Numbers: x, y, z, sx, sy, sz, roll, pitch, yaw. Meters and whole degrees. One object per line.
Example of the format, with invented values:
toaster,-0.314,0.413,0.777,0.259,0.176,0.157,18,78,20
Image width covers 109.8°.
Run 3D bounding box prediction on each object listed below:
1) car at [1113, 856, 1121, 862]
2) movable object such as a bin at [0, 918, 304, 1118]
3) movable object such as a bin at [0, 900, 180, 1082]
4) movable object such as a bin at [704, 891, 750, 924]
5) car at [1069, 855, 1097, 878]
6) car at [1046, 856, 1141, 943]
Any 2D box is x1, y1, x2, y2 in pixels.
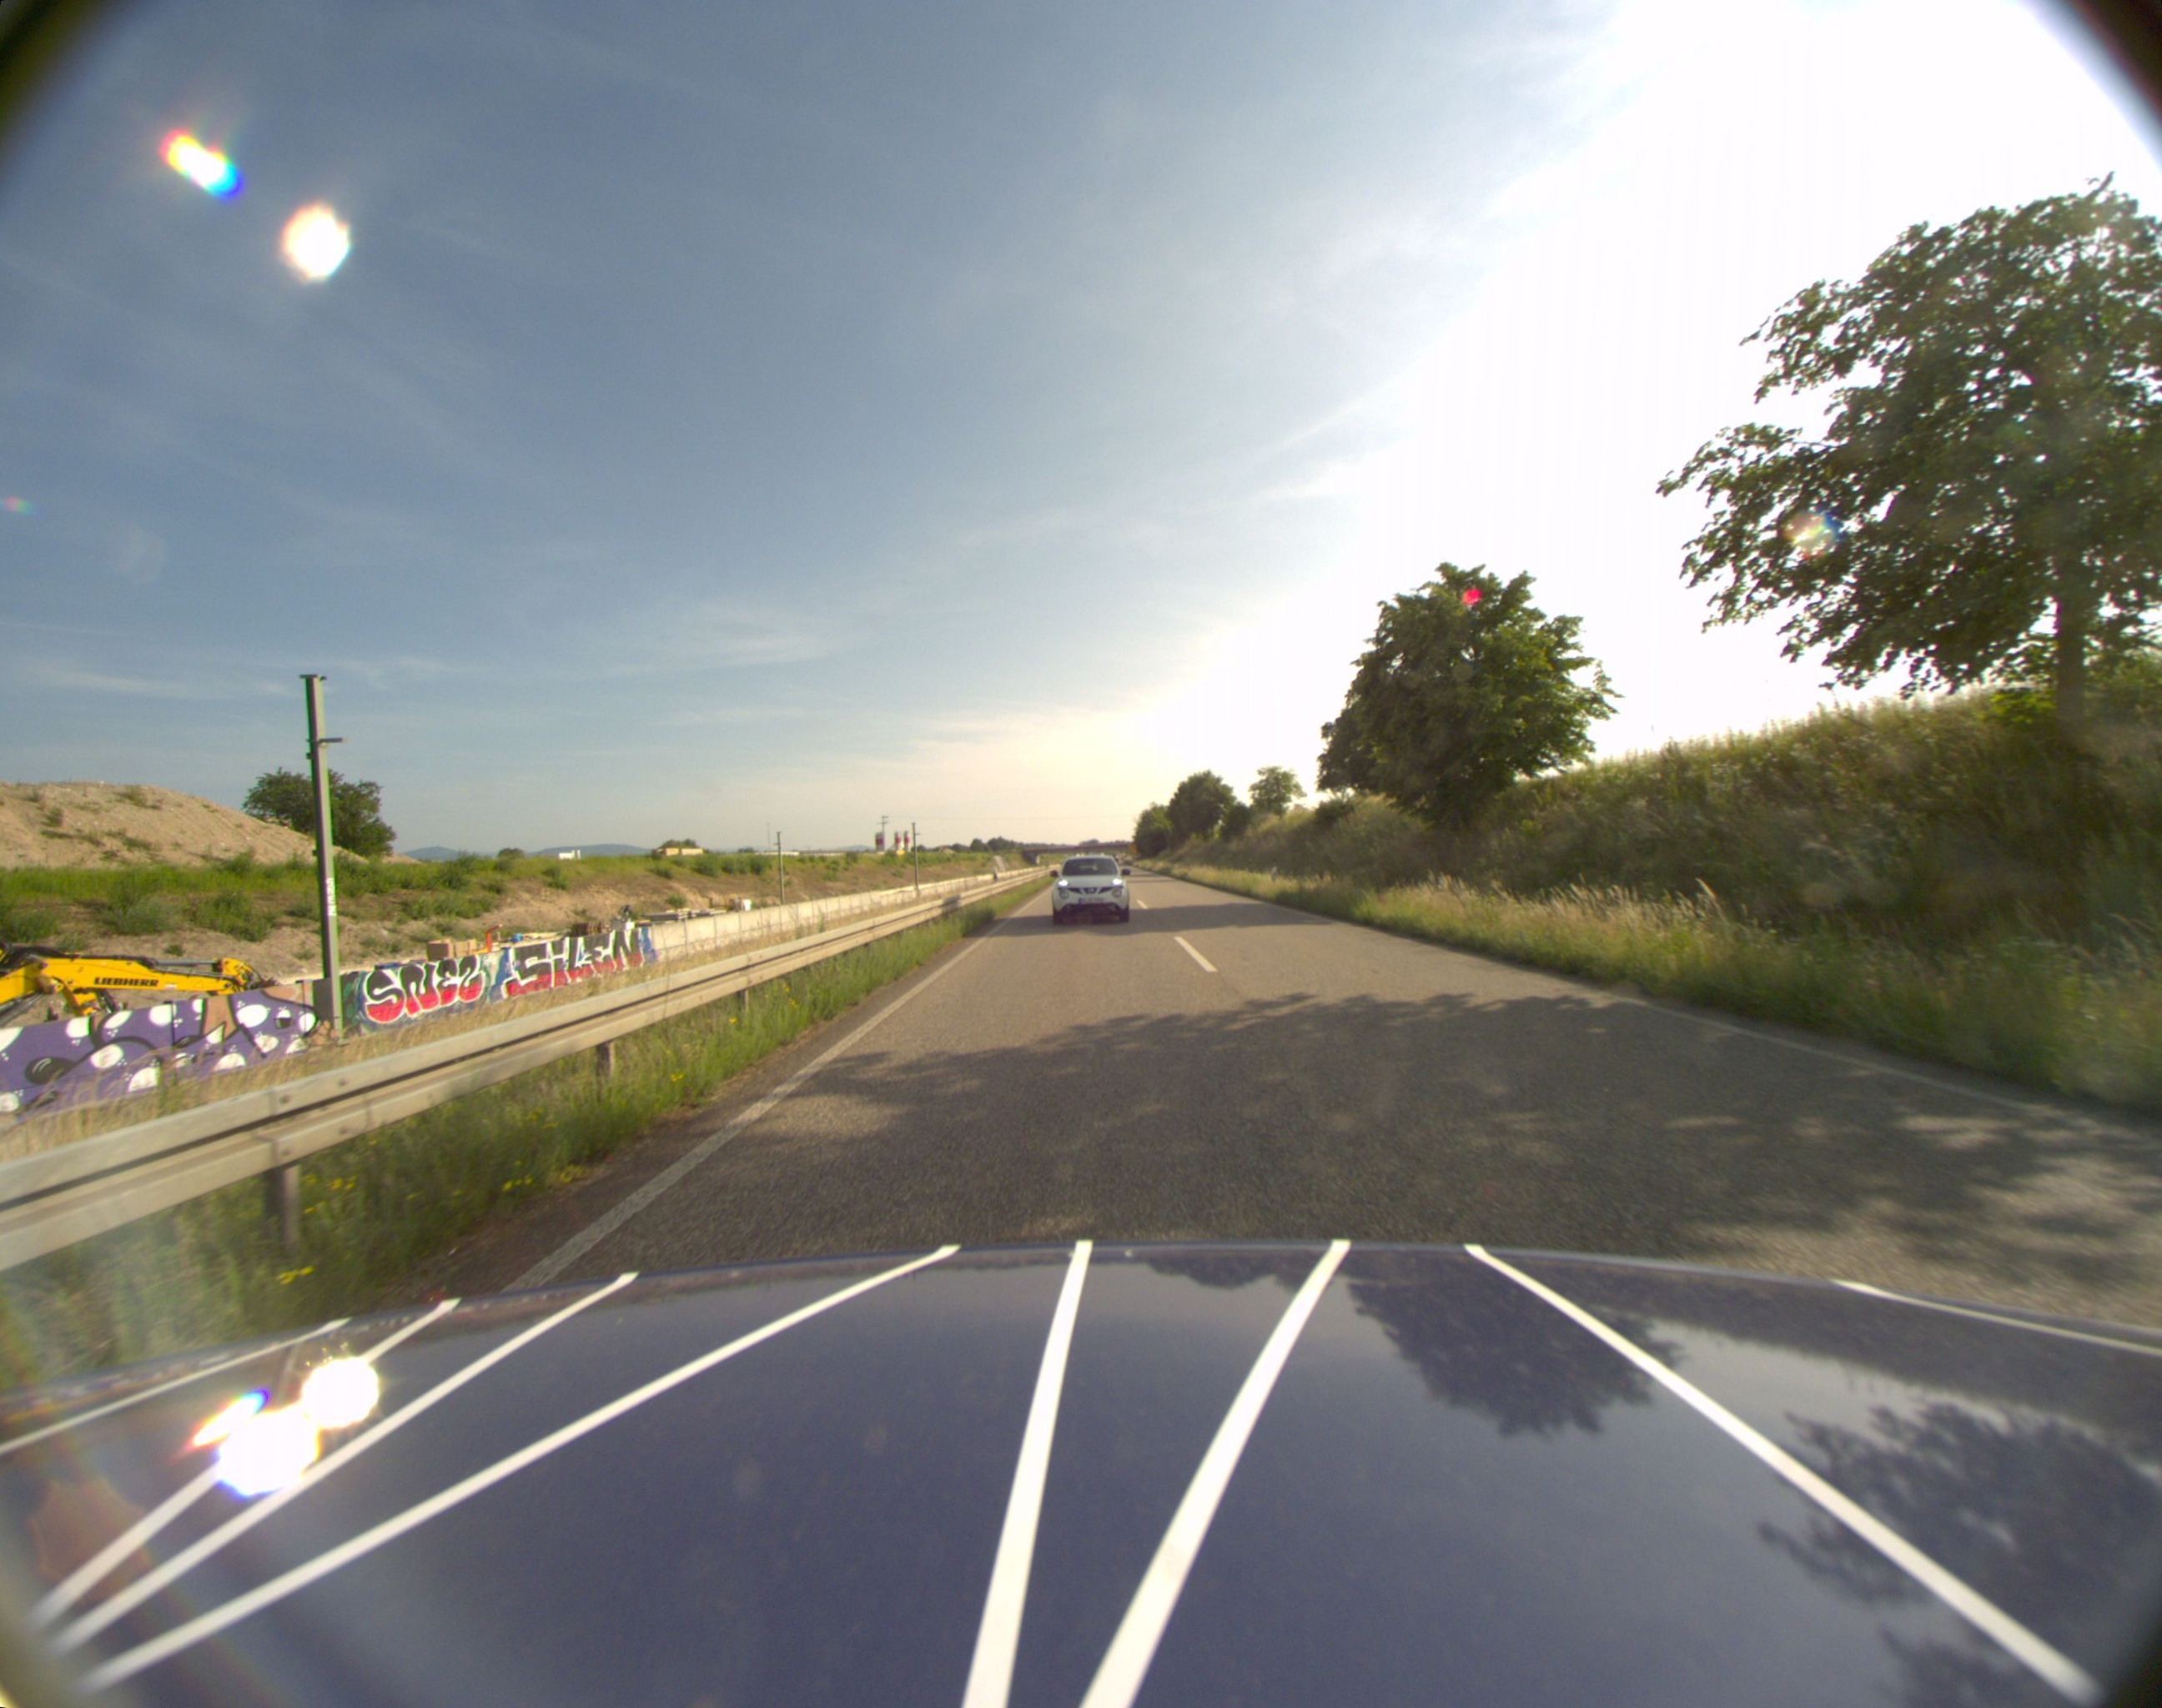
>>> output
car,10.124,1.392,213.841,1.748,1.537,4.311,-1,0,-1
movable object such as a bin,-21.085,3.271,15.192,2.628,3.220,8.073,-2,0,1
movable object such as a bin,-25.560,3.211,16.496,2.803,3.863,7.538,-2,0,1
movable object such as a bin,-29.804,4.490,63.943,2.906,2.646,2.023,-2,0,27
car,0.186,0.836,54.648,1.908,1.512,4.466,-2,0,1
car,0.274,0.889,16.969,1.789,1.593,4.572,-2,0,1
